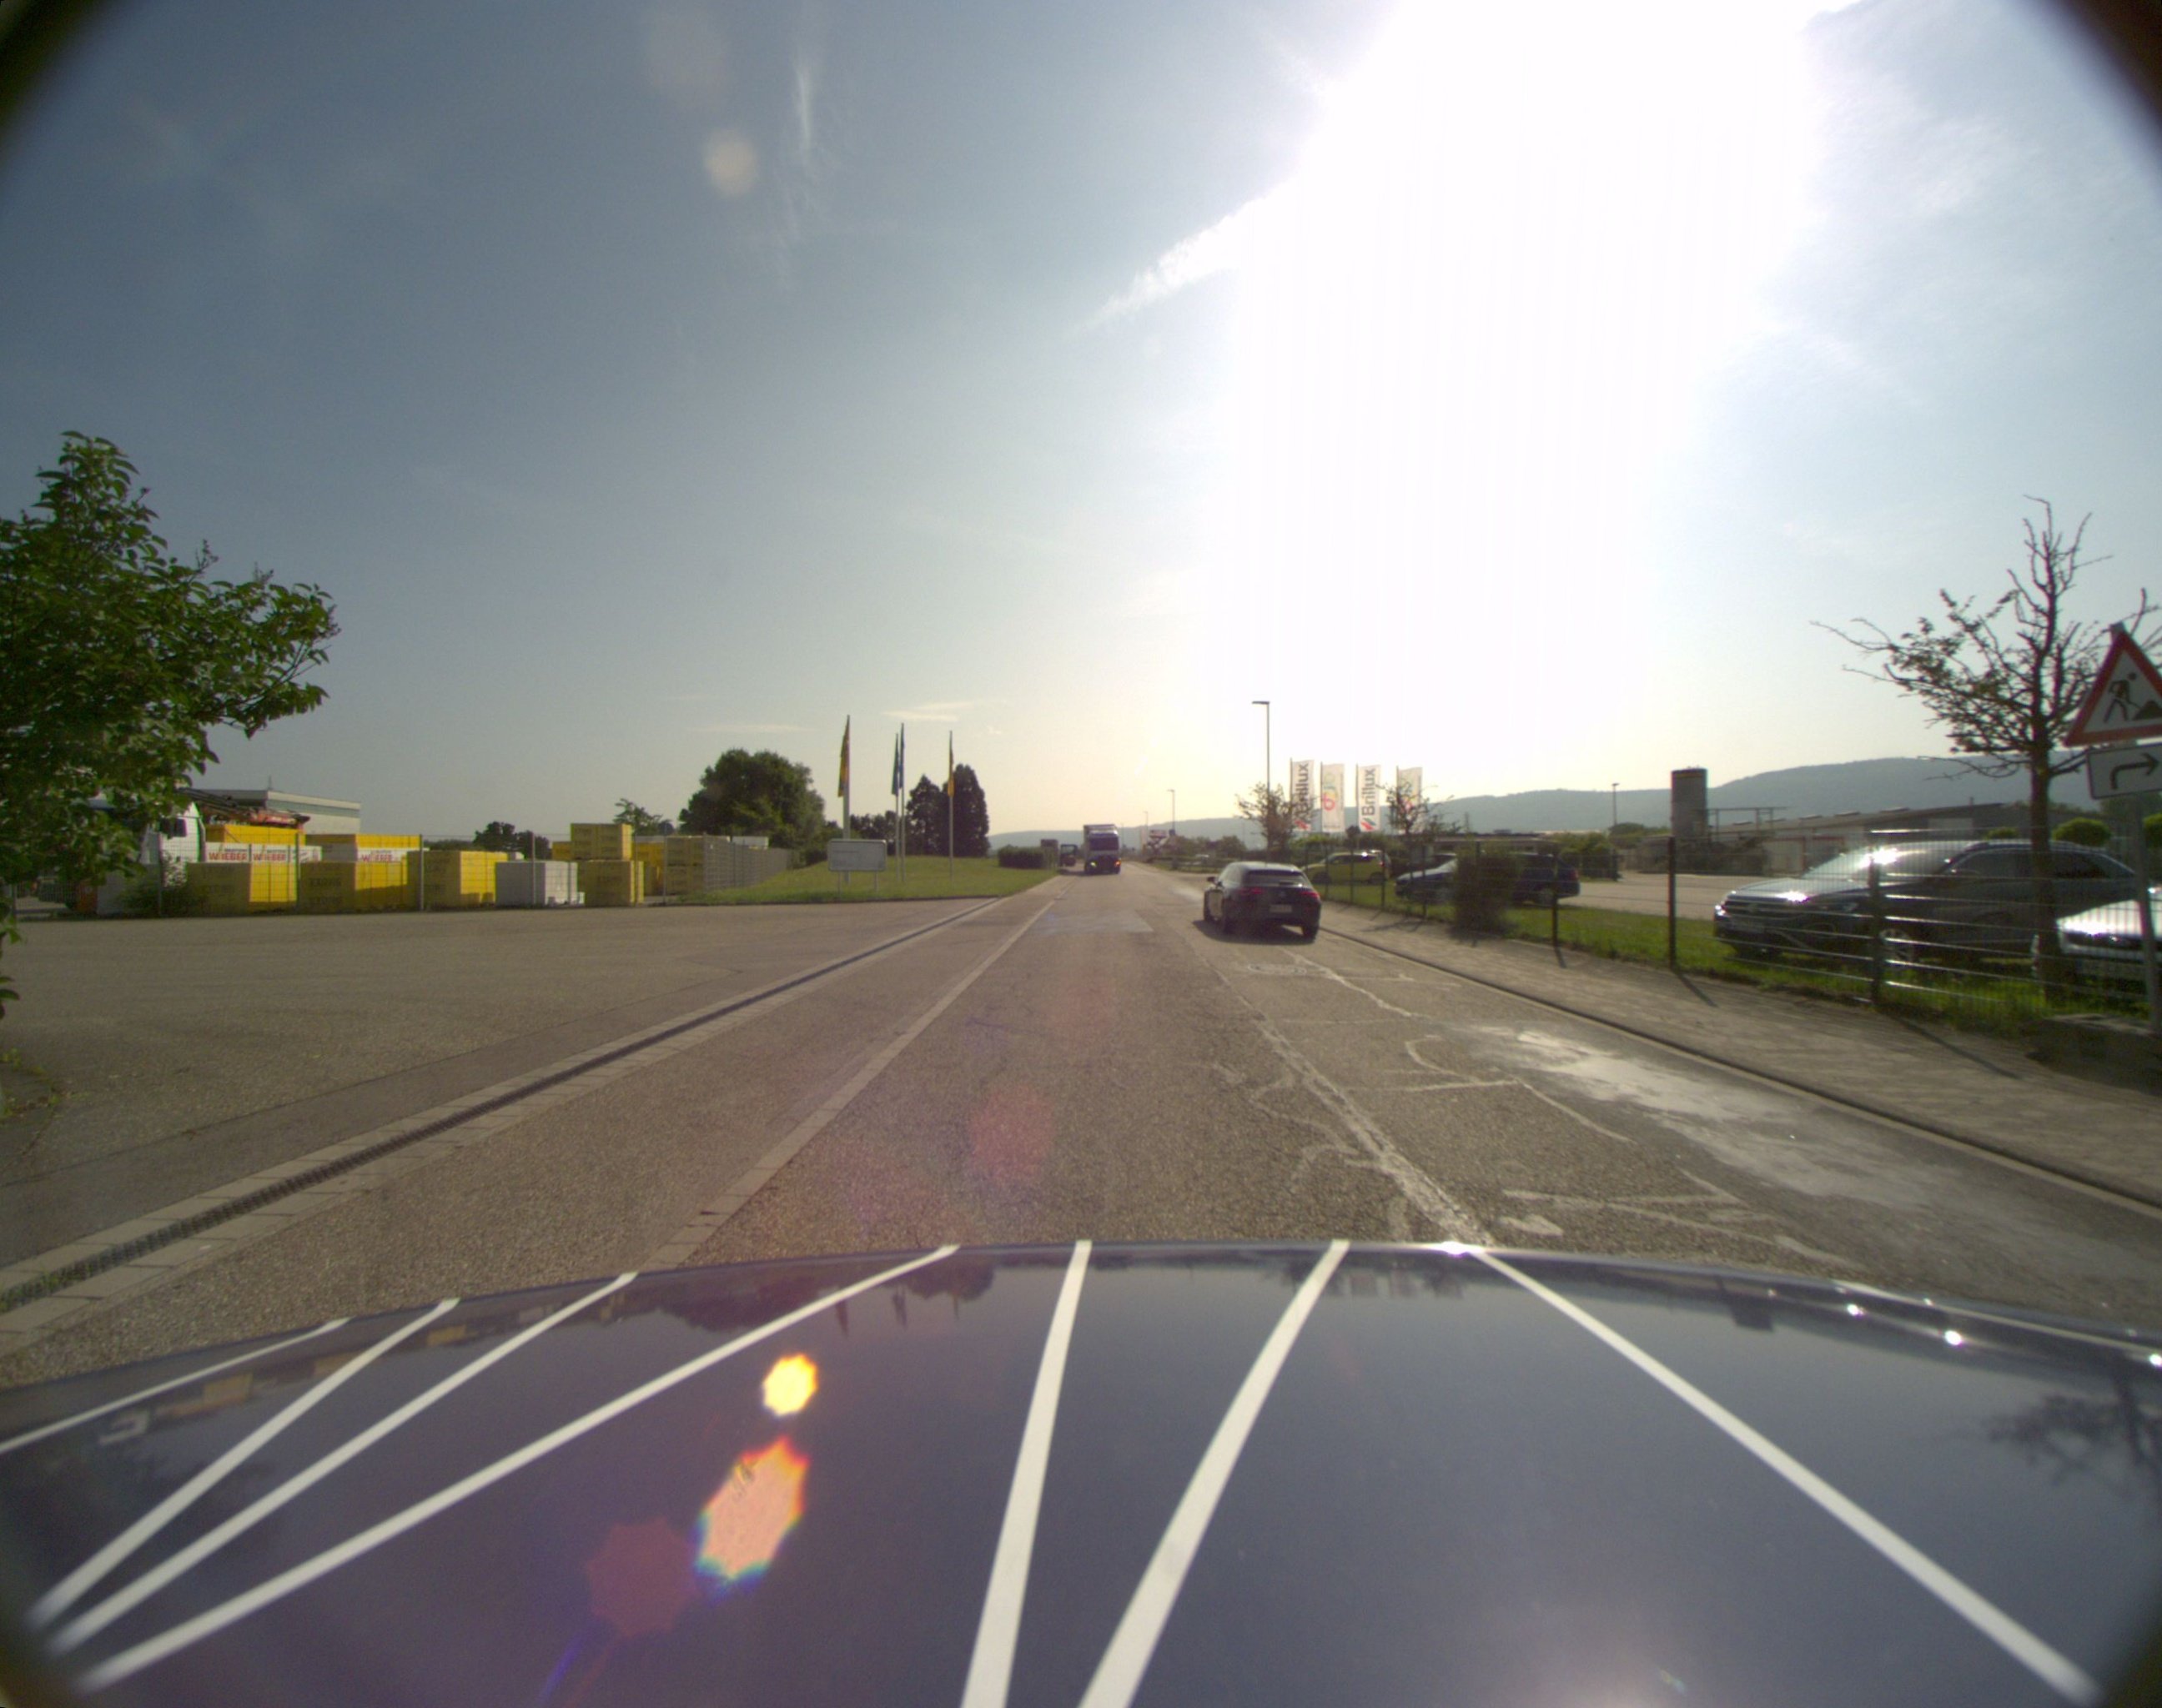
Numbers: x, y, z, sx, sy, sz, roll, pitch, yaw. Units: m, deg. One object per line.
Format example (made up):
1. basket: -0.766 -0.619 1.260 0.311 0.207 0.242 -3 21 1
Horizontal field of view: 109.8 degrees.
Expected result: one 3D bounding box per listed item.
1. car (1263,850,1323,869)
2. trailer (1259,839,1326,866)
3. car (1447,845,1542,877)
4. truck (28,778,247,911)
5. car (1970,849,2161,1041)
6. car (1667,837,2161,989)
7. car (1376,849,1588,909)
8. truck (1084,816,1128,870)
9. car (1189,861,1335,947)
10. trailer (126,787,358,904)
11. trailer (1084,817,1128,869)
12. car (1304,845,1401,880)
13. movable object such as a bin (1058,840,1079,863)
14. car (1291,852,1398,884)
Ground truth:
1. car: 20.176 0.501 72.374 5.271 1.696 2.001 1 0 8
2. trailer: 21.053 -0.153 75.784 6.314 2.590 2.857 1 1 16
3. car: 23.764 0.390 43.890 4.653 1.742 2.155 0 1 23
4. truck: -29.907 -0.316 24.362 2.548 3.854 3.993 -3 1 -20
5. car: 10.159 0.732 5.979 4.050 1.435 1.874 1 0 1
6. car: 9.900 0.637 9.174 4.137 1.558 1.865 1 0 1
7. car: 10.866 0.644 20.886 4.697 1.435 2.078 1 0 1
8. truck: 2.080 -0.906 63.180 3.395 4.183 6.098 -2 1 2
9. car: 3.609 0.936 16.074 1.998 1.441 4.419 2 0 0
10. trailer: -31.703 -0.330 29.290 2.487 3.854 7.787 -3 1 -20
11. trailer: 2.425 -1.044 69.856 3.497 4.183 14.234 -2 1 3
12. car: 14.373 0.439 40.468 1.961 1.686 4.500 -3 1 -34
13. movable object such as a bin: -1.739 -0.365 102.451 2.435 2.994 5.750 1 0 -5
14. car: 11.838 0.609 34.341 4.173 1.360 1.869 0 0 2
